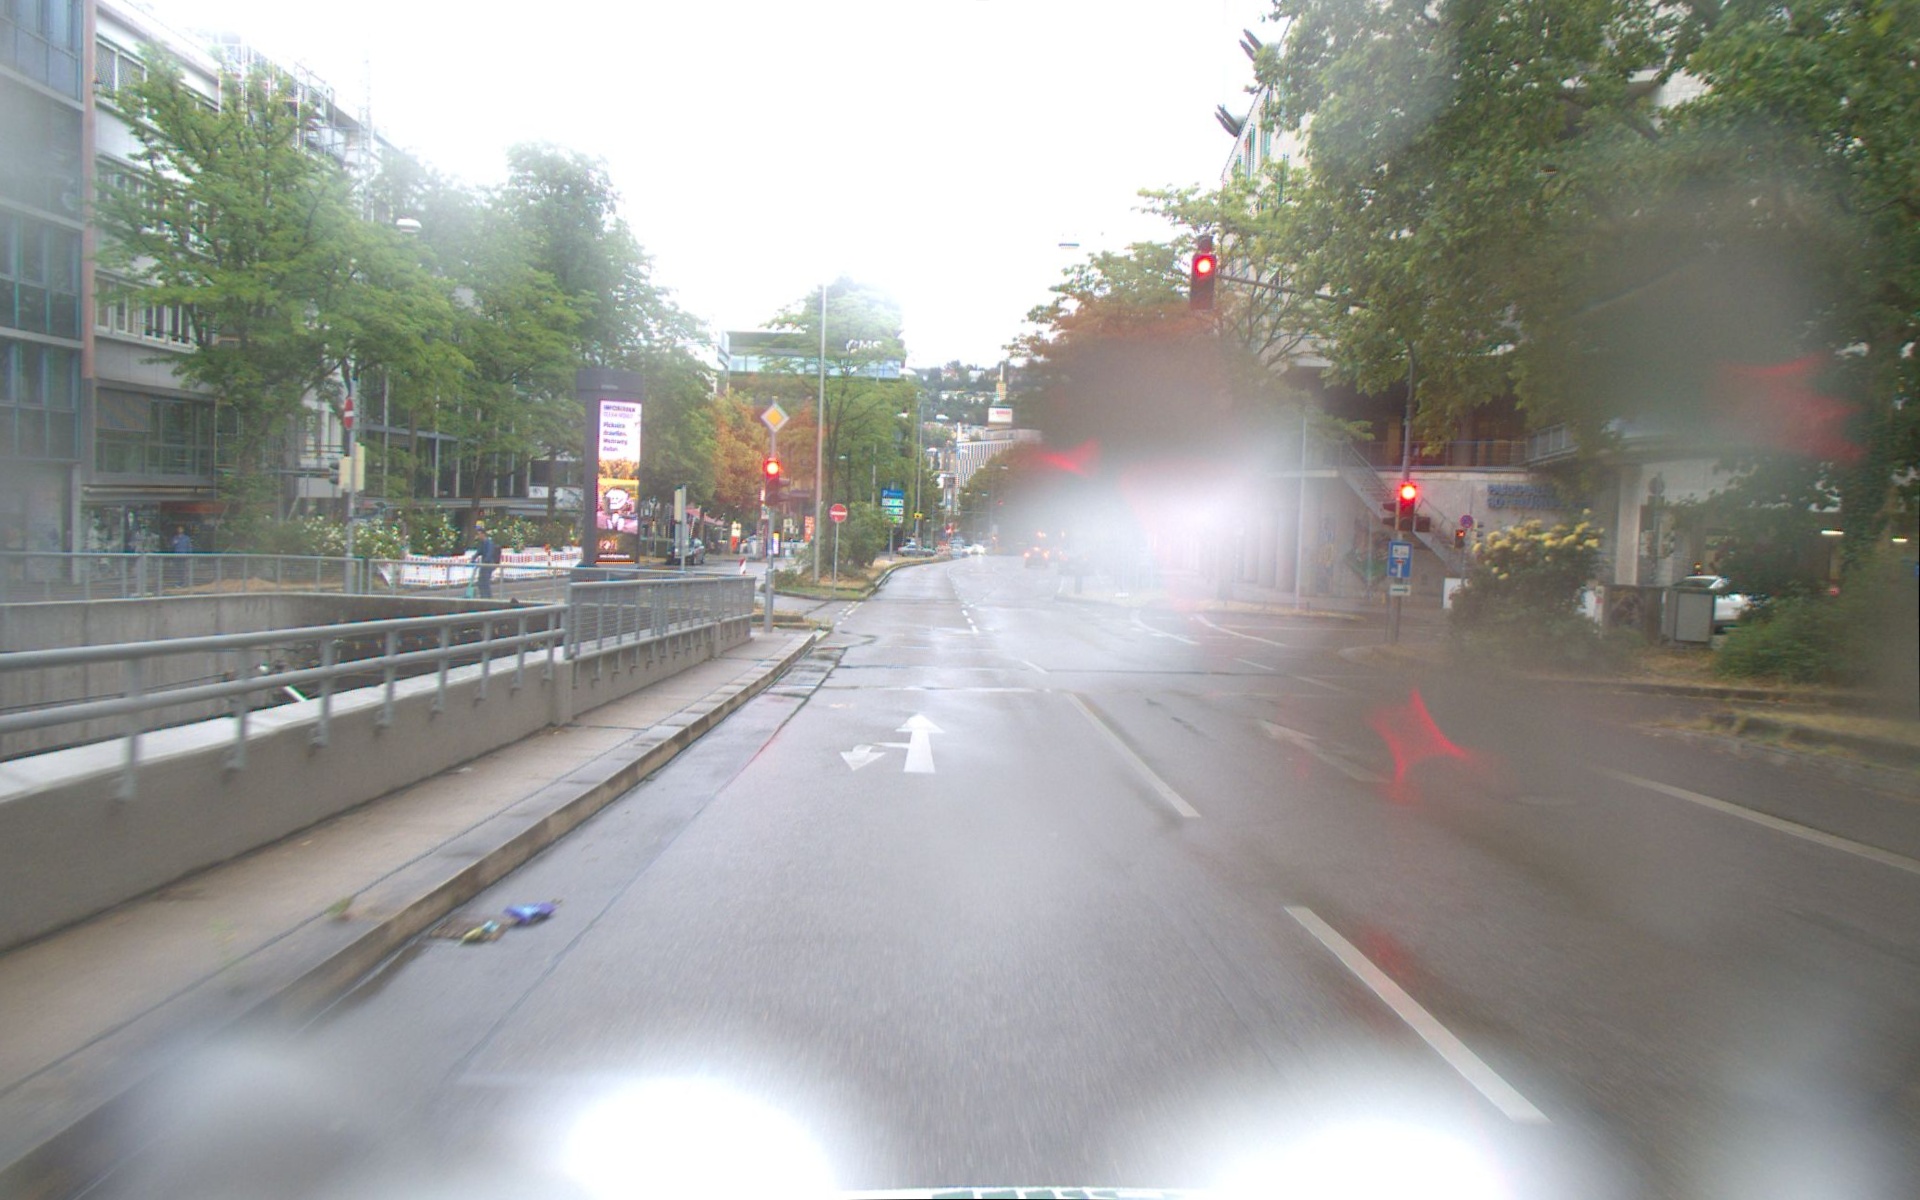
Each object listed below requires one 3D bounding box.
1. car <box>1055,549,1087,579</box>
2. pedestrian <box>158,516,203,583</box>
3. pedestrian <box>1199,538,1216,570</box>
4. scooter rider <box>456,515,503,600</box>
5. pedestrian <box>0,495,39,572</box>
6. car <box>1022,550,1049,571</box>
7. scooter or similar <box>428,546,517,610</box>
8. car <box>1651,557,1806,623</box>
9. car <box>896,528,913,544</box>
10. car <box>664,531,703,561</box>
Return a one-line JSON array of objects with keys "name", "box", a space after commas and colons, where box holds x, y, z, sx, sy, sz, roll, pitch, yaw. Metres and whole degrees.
[{"name": "car", "box": [6.761, -2.187, 101.199, 1.862, 1.713, 3.913, 3, 1, 3]}, {"name": "pedestrian", "box": [-22.817, -1.488, 48.428, 0.859, 1.900, 0.866, 3, 1, -3]}, {"name": "pedestrian", "box": [12.479, -2.299, 83.317, 0.769, 1.584, 0.533, 3, 1, 6]}, {"name": "scooter rider", "box": [-11.420, -1.012, 39.329, 0.803, 1.981, 0.811, 3, 1, 1]}, {"name": "pedestrian", "box": [-24.002, -1.670, 41.721, 0.846, 1.900, 0.960, 3, 1, 17]}, {"name": "car", "box": [5.768, -3.025, 126.257, 1.710, 1.545, 4.106, 2, 1, -1]}, {"name": "scooter or similar", "box": [-11.587, -0.529, 39.363, 1.909, 1.443, 0.548, 2, 1, 0]}, {"name": "car", "box": [22.163, -0.290, 47.679, 4.290, 1.713, 1.737, 2, 1, -26]}, {"name": "car", "box": [-8.238, -9.431, 243.746, 2.084, 2.202, 5.199, 3, 1, 2]}, {"name": "car", "box": [-16.820, -3.308, 100.740, 1.745, 1.582, 3.894, 3, 3, -2]}]
